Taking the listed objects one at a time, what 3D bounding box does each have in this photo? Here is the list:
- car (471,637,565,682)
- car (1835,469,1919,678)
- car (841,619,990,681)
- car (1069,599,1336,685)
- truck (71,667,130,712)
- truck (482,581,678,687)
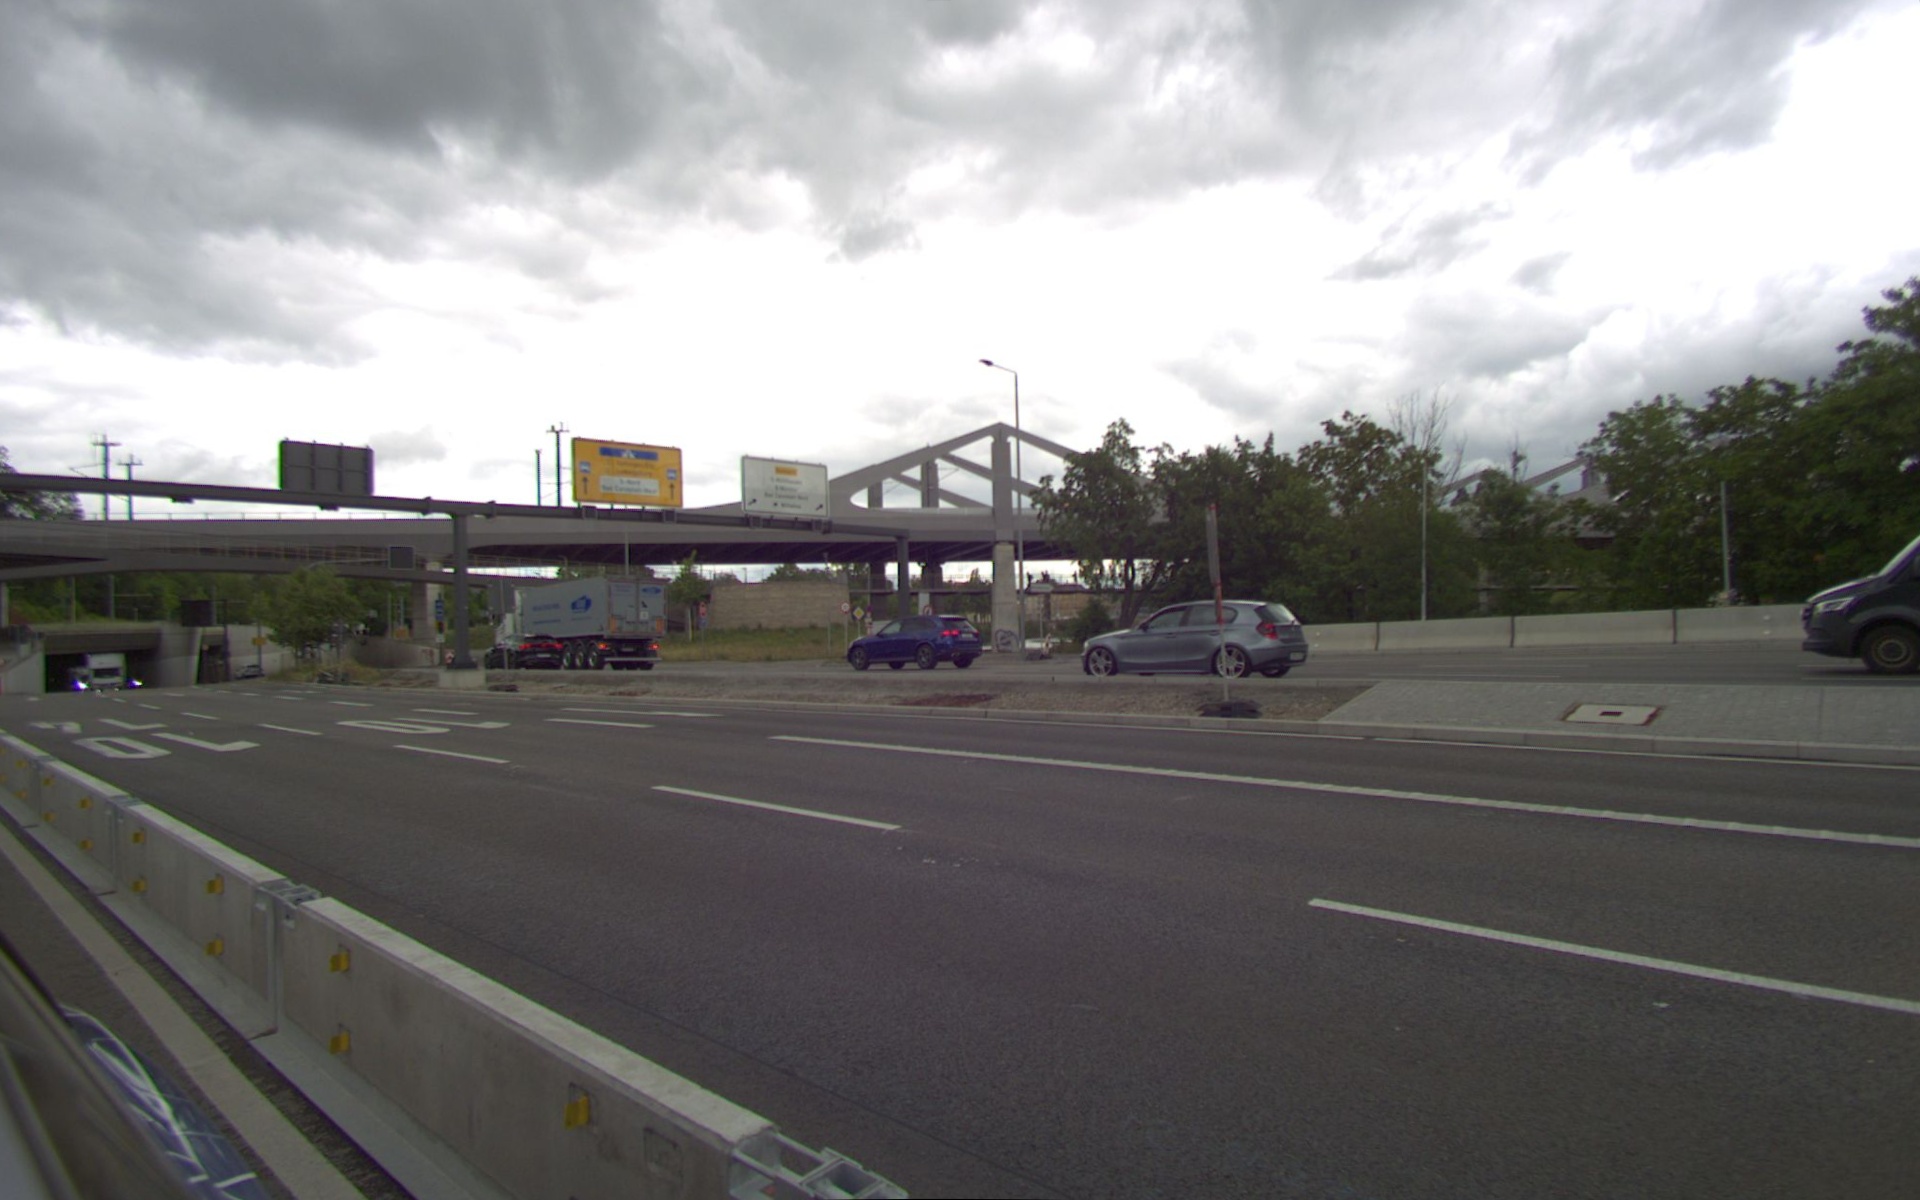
[{"bbox_3d":[-17.135,2.334,39.127,4.452,1.633,1.687,-4,-6,43],"label":"car"},{"bbox_3d":[15.259,-0.506,12.818,6.144,2.798,2.191,-4,-1,42],"label":"car"},{"bbox_3d":[-1.433,1.573,31.191,4.487,1.696,1.866,-4,-1,42],"label":"car"},{"bbox_3d":[4.228,0.789,18.101,4.257,1.341,1.865,-4,-4,44],"label":"car"},{"bbox_3d":[-68.659,7.066,80.763,8.121,3.150,2.711,-4,-1,44],"label":"truck"},{"bbox_3d":[-17.423,1.742,45.343,2.865,4.093,13.998,0,-4,-44],"label":"truck"}]
